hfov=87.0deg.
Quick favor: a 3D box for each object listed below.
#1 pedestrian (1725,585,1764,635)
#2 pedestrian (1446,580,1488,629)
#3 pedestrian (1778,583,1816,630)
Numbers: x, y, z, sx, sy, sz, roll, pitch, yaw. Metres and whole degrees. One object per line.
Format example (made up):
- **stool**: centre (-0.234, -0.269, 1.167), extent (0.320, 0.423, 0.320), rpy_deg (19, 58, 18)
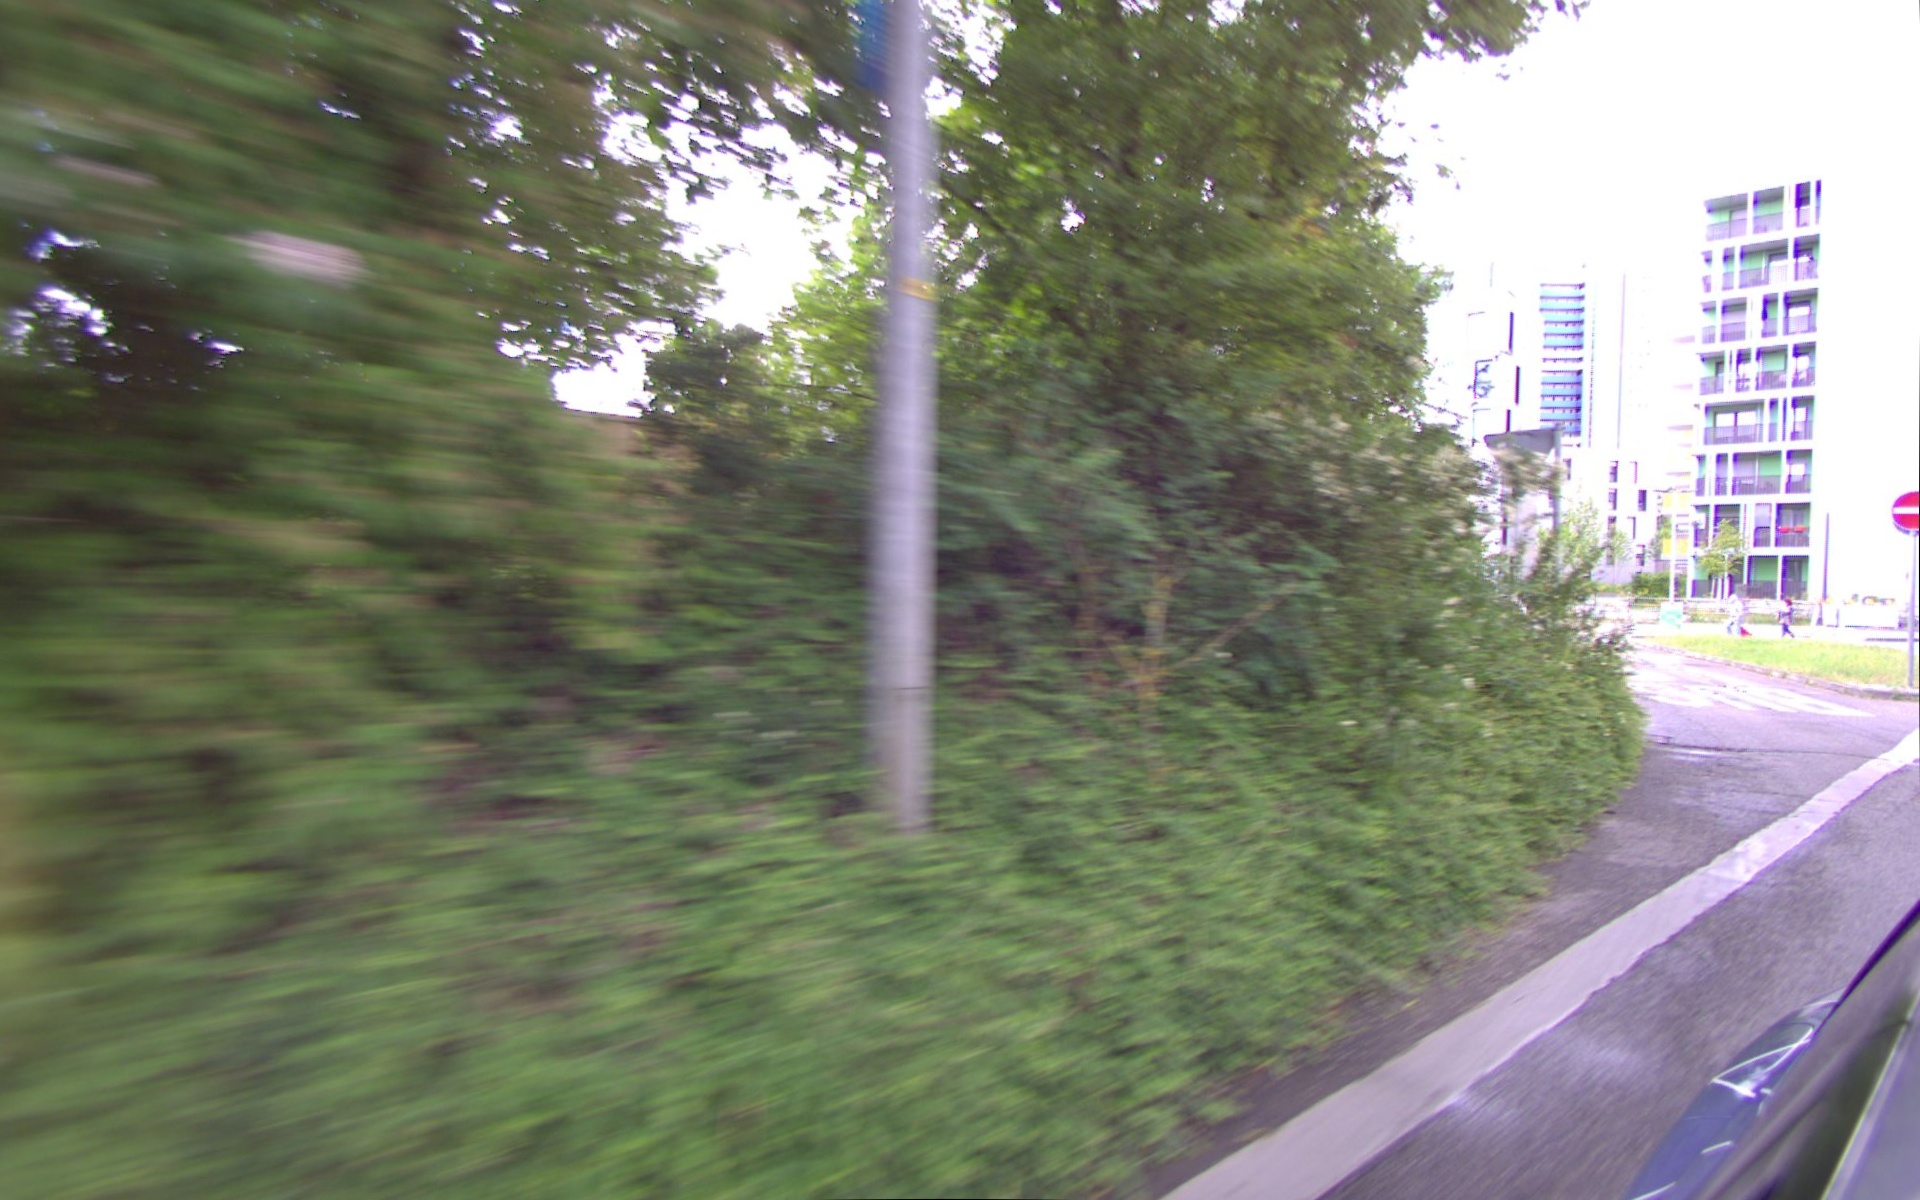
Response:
- **pedestrian**: centre (26.859, 0.336, 34.656), extent (0.684, 1.652, 0.725), rpy_deg (-1, 4, -19)
- **pedestrian**: centre (18.673, 0.149, 37.271), extent (0.937, 1.768, 0.956), rpy_deg (0, 1, -21)
- **pedestrian**: centre (28.495, 0.208, 34.449), extent (0.678, 1.586, 0.734), rpy_deg (0, 1, -21)
